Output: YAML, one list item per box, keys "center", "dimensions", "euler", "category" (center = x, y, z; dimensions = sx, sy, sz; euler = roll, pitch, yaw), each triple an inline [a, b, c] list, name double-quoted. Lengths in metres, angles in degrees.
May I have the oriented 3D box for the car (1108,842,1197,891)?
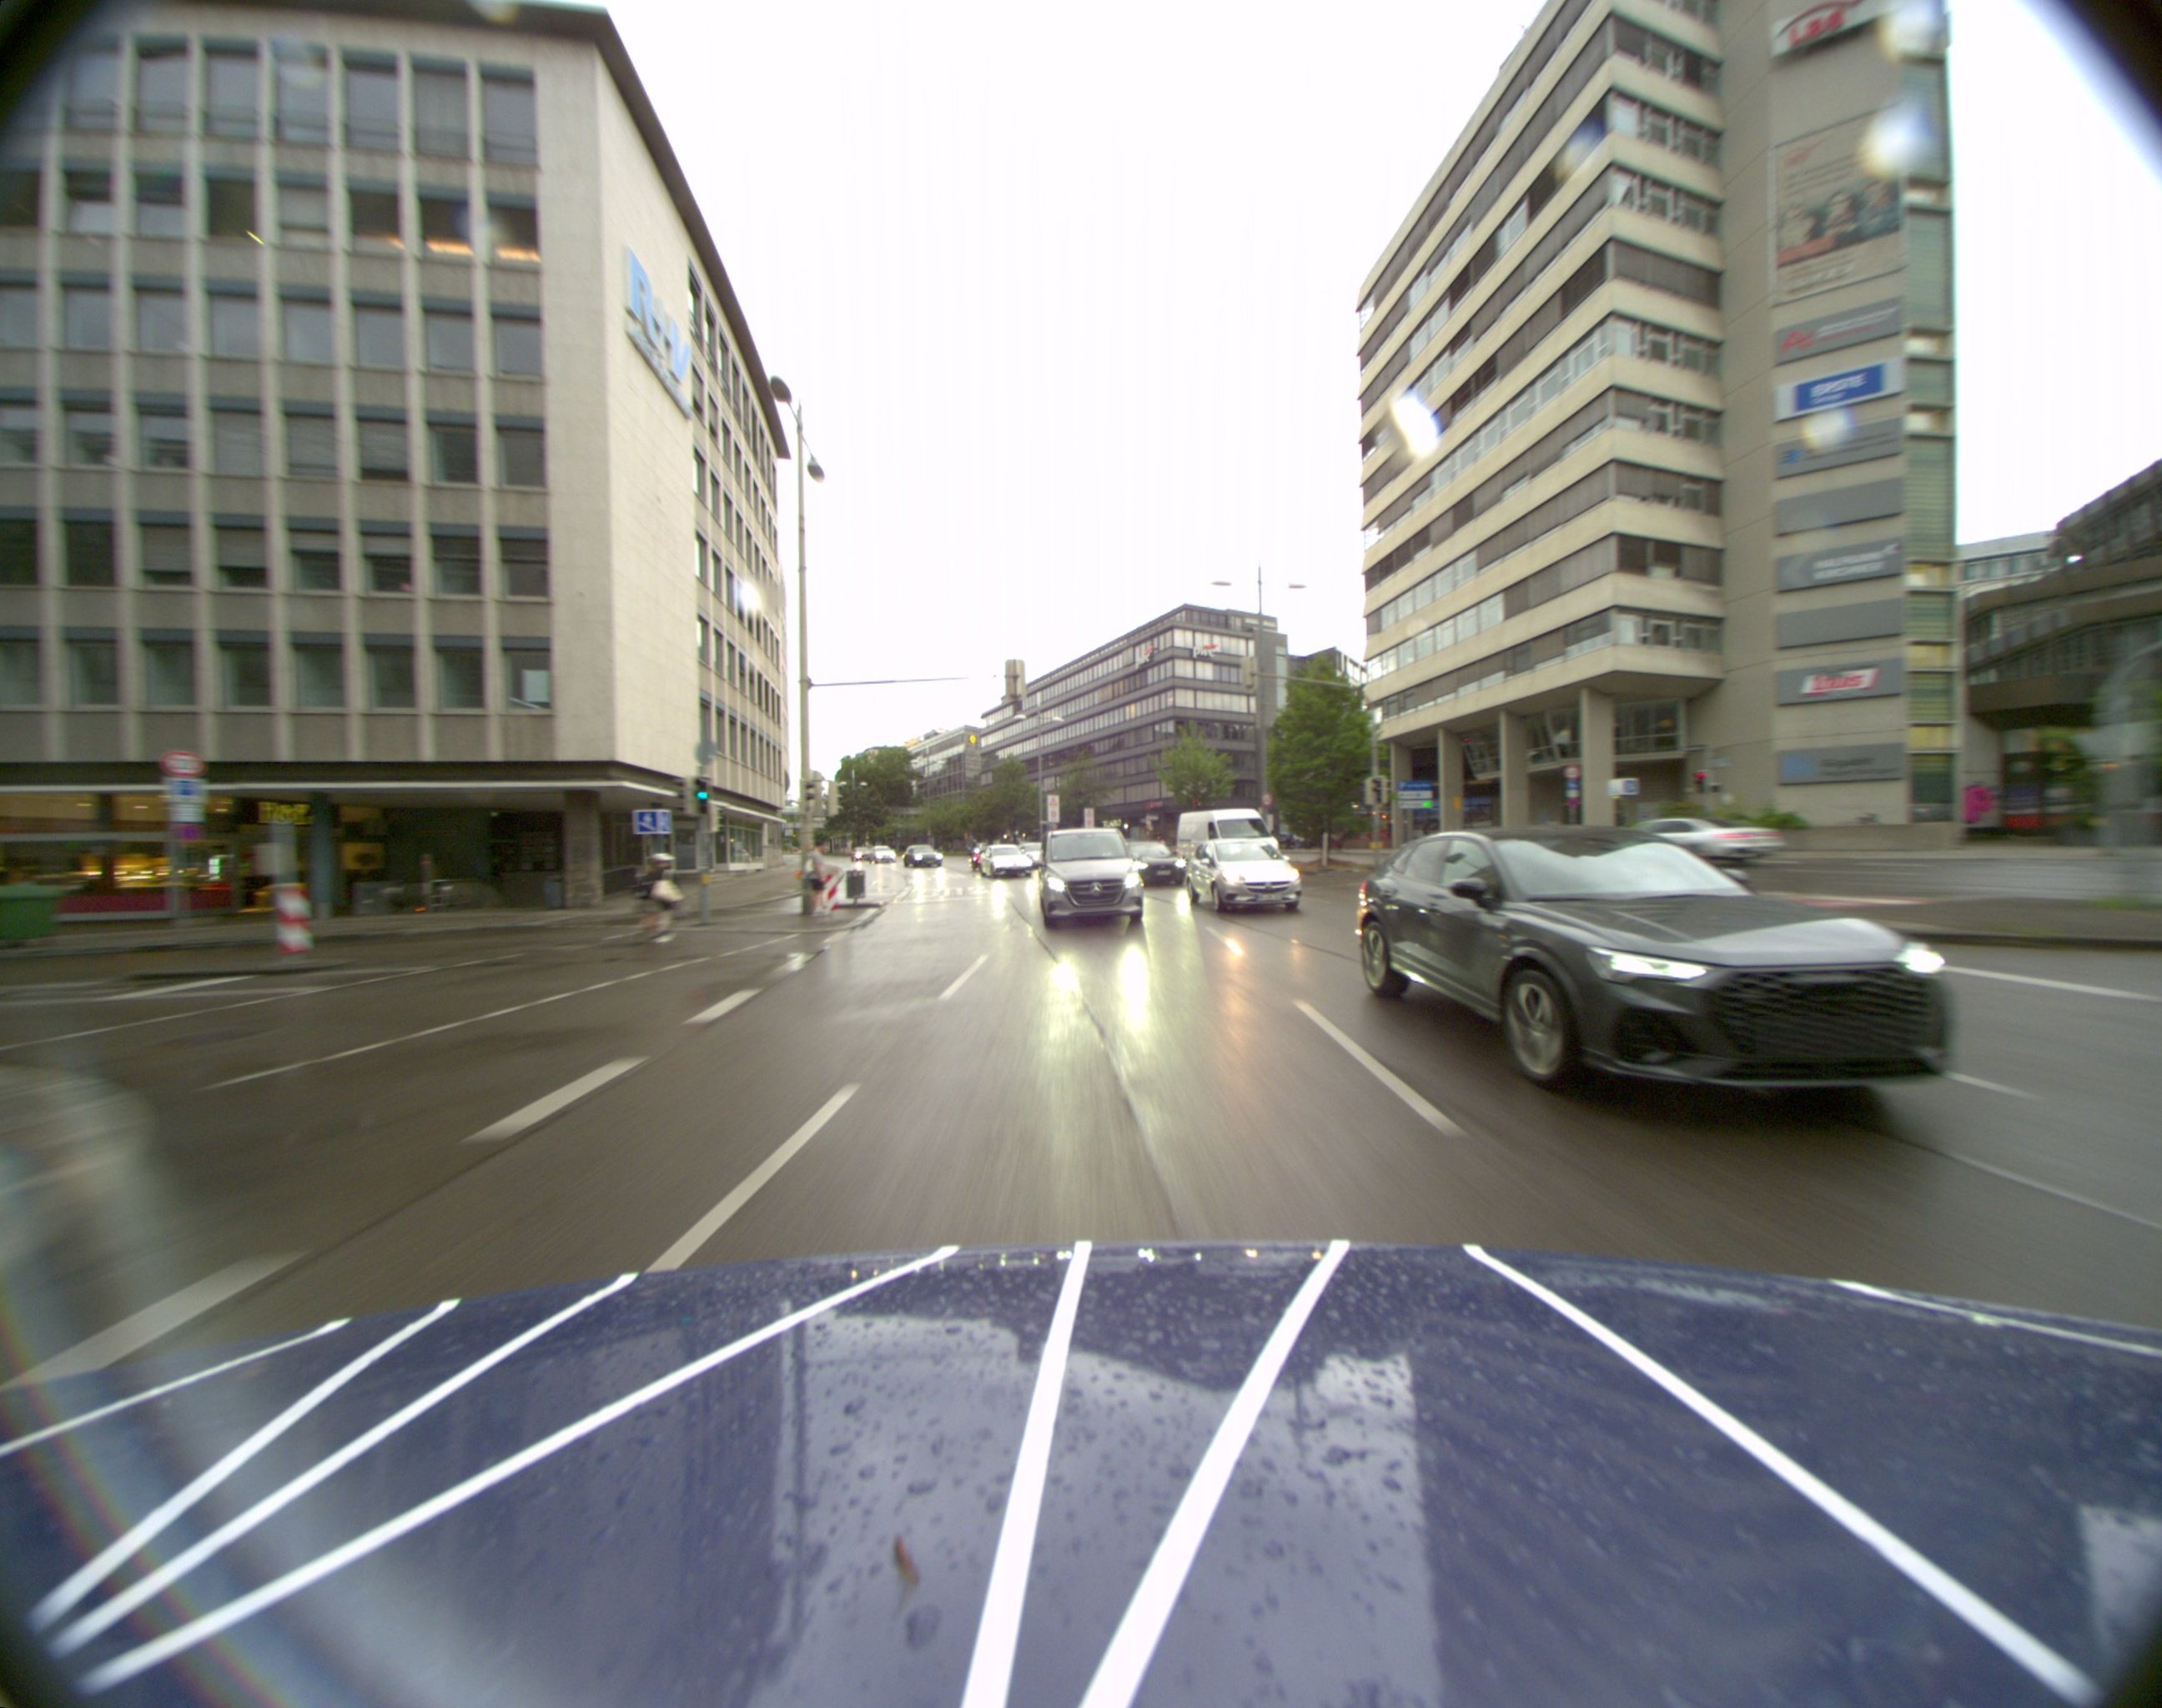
- center: [2.301, 0.347, 25.623]
  dimensions: [1.906, 1.393, 4.237]
  euler: [-3, 1, -9]
  category: "car"

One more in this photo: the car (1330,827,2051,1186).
- center: [3.475, 0.641, 5.612]
  dimensions: [1.802, 1.543, 4.387]
  euler: [-3, 1, 0]
  category: "car"

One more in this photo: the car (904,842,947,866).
- center: [-10.745, -0.004, 52.336]
  dimensions: [1.895, 1.478, 3.991]
  euler: [-4, 2, -26]
  category: "car"

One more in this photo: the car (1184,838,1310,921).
- center: [3.403, 0.435, 16.369]
  dimensions: [1.774, 1.470, 4.126]
  euler: [-3, 1, 0]
  category: "car"

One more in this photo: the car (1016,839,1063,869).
- center: [-2.410, -0.025, 43.184]
  dimensions: [1.755, 1.508, 3.762]
  euler: [-3, 2, -17]
  category: "car"

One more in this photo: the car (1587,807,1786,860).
- center: [19.779, -0.663, 25.195]
  dimensions: [1.789, 1.509, 5.247]
  euler: [-3, 1, -10]
  category: "car"

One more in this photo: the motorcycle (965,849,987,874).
- center: [-5.934, 0.385, 42.880]
  dimensions: [1.131, 1.259, 3.371]
  euler: [-3, 2, -8]
  category: "motorcycle"

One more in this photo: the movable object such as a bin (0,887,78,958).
- center: [-24.697, 1.575, 17.580]
  dimensions: [0.987, 1.503, 1.392]
  euler: [-3, 2, -4]
  category: "movable object such as a bin"

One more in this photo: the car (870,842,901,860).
- center: [-17.398, -0.270, 67.595]
  dimensions: [1.895, 1.478, 3.991]
  euler: [-4, 2, -25]
  category: "car"

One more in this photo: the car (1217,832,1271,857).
- center: [10.653, -0.618, 49.894]
  dimensions: [1.744, 1.456, 3.994]
  euler: [-3, 2, -16]
  category: "car"

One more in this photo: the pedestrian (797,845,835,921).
- center: [-6.183, 0.653, 17.782]
  dimensions: [0.654, 1.716, 0.816]
  euler: [-3, 2, -13]
  category: "pedestrian"

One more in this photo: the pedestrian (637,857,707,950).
- center: [-7.503, 0.873, 13.985]
  dimensions: [0.654, 1.589, 1.058]
  euler: [-3, 2, -2]
  category: "pedestrian"

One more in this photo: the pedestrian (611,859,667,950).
- center: [-8.163, 0.914, 14.053]
  dimensions: [0.527, 1.589, 0.730]
  euler: [-3, 2, -2]
  category: "pedestrian"

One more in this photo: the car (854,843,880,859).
- center: [-21.873, -0.299, 77.566]
  dimensions: [1.895, 1.478, 3.991]
  euler: [-4, 2, -25]
  category: "car"

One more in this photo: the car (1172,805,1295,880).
- center: [5.365, -0.432, 27.713]
  dimensions: [2.261, 2.372, 5.712]
  euler: [-3, 2, -12]
  category: "car"

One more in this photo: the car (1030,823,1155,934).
- center: [0.052, 0.378, 16.065]
  dimensions: [2.060, 1.881, 5.045]
  euler: [-3, 1, -5]
  category: "car"

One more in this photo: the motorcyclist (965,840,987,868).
- center: [-5.892, -0.014, 42.613]
  dimensions: [1.152, 1.502, 1.196]
  euler: [-3, 2, -9]
  category: "motorcyclist"

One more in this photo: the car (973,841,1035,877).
- center: [-3.629, 0.206, 35.216]
  dimensions: [1.692, 1.478, 3.992]
  euler: [-3, 2, -23]
  category: "car"
